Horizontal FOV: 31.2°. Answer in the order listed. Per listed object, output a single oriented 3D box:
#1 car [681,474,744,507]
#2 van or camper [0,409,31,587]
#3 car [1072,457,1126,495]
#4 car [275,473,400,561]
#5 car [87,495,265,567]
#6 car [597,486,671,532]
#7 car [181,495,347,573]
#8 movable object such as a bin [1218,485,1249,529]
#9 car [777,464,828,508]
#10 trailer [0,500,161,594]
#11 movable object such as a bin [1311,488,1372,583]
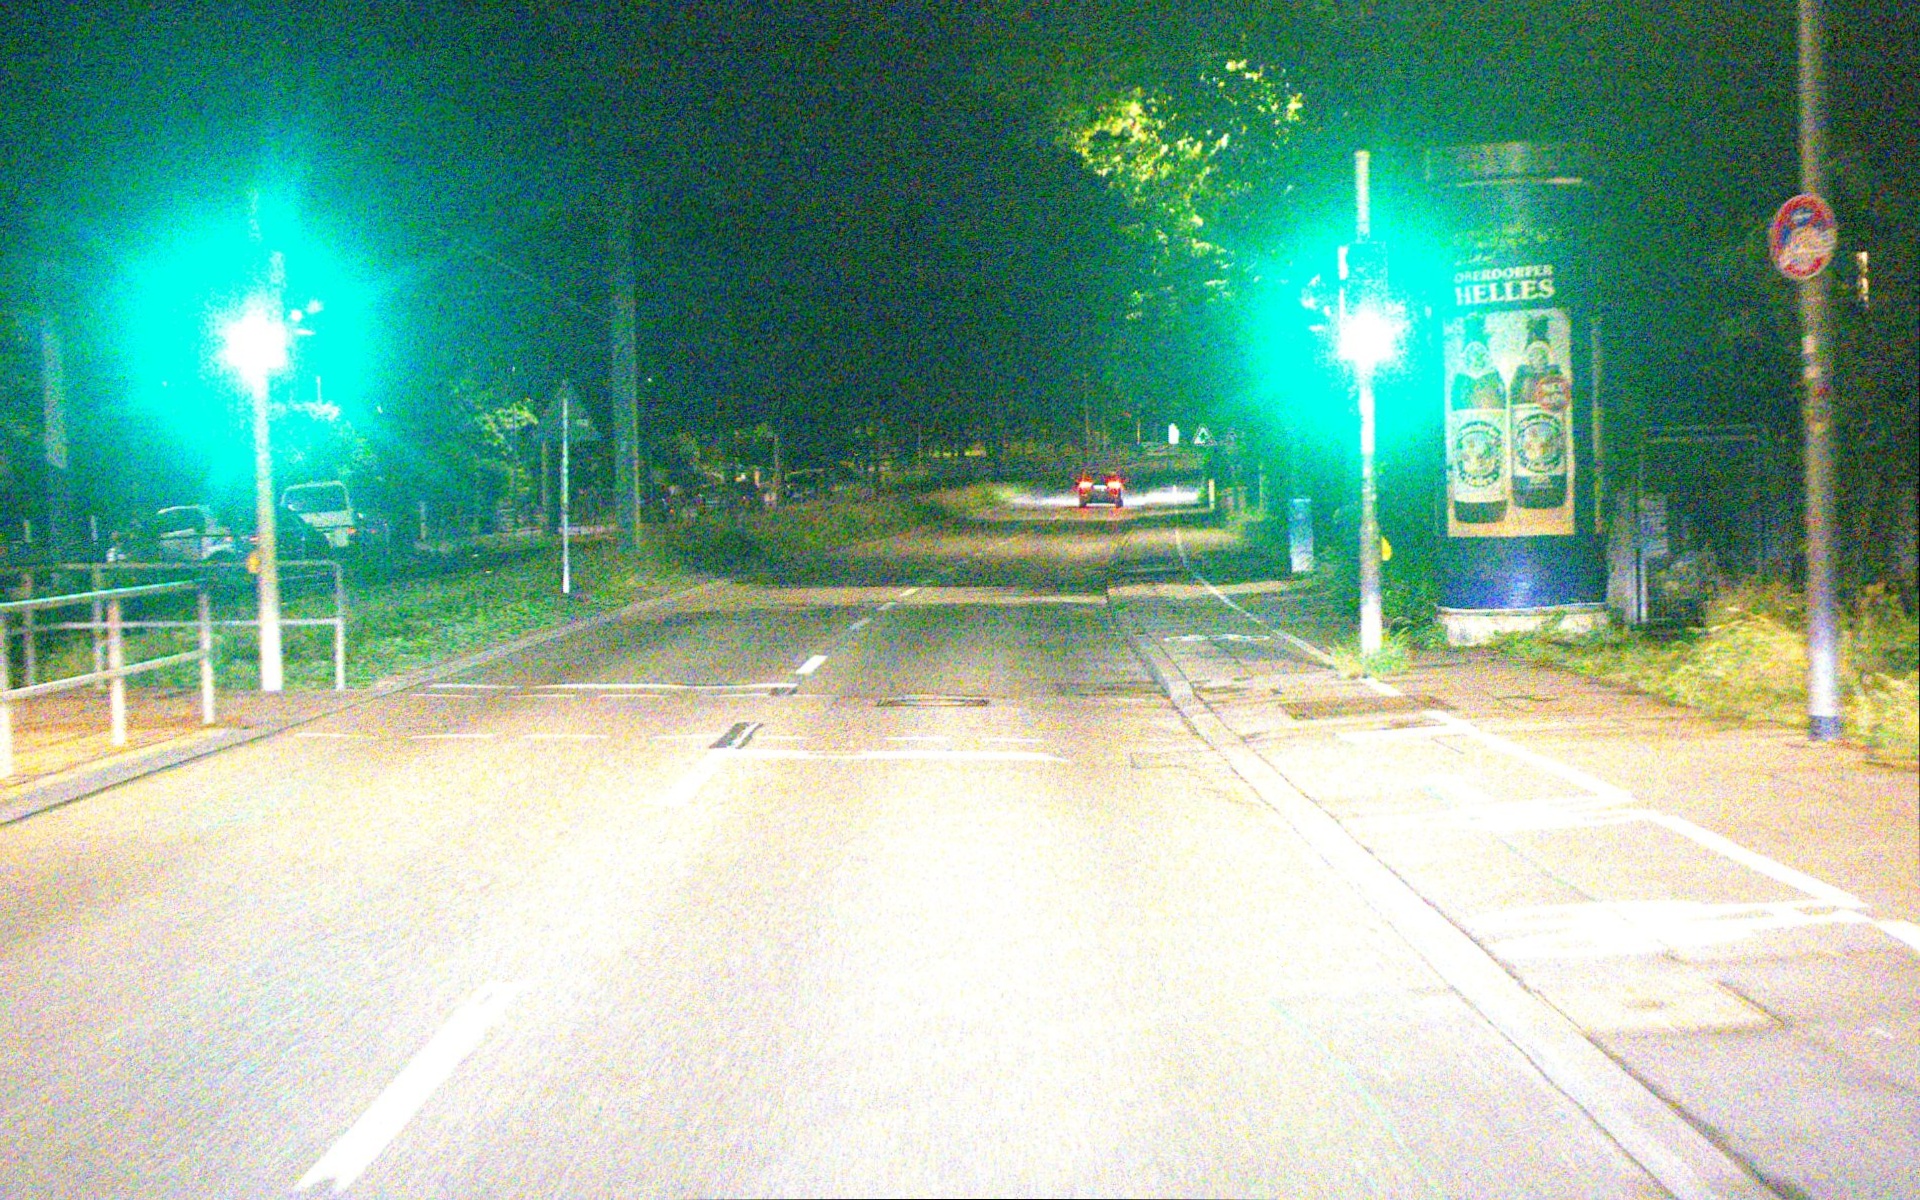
[{"bbox_3d":[-10.380,-4.610,144.642,1.994,1.333,5.432,-1,2,3],"label":"car"},{"bbox_3d":[-15.369,-1.412,49.772,2.272,2.638,5.665,-3,2,-1],"label":"van or camper"},{"bbox_3d":[5.948,-5.303,147.386,2.161,1.577,4.014,0,2,0],"label":"car"},{"bbox_3d":[-13.864,-1.877,76.800,1.857,1.897,4.880,-1,2,0],"label":"car"},{"bbox_3d":[-14.860,-1.314,65.262,3.028,1.321,1.534,-1,2,-2],"label":"car"},{"bbox_3d":[-11.818,-3.318,124.932,1.994,1.622,4.677,-1,2,3],"label":"car"},{"bbox_3d":[-14.263,-1.391,70.743,1.902,1.517,5.171,0,2,6],"label":"car"},{"bbox_3d":[7.468,-2.539,93.838,0.833,1.177,0.828,0,2,6],"label":"movable object such as a bin"},{"bbox_3d":[-8.018,-5.813,175.115,2.092,2.006,4.000,-5,2,3],"label":"car"},{"bbox_3d":[-15.225,-0.844,56.660,2.420,1.370,4.654,-4,2,8],"label":"trailer"},{"bbox_3d":[4.902,-0.830,44.169,0.724,1.196,0.719,-1,2,10],"label":"movable object such as a bin"}]
